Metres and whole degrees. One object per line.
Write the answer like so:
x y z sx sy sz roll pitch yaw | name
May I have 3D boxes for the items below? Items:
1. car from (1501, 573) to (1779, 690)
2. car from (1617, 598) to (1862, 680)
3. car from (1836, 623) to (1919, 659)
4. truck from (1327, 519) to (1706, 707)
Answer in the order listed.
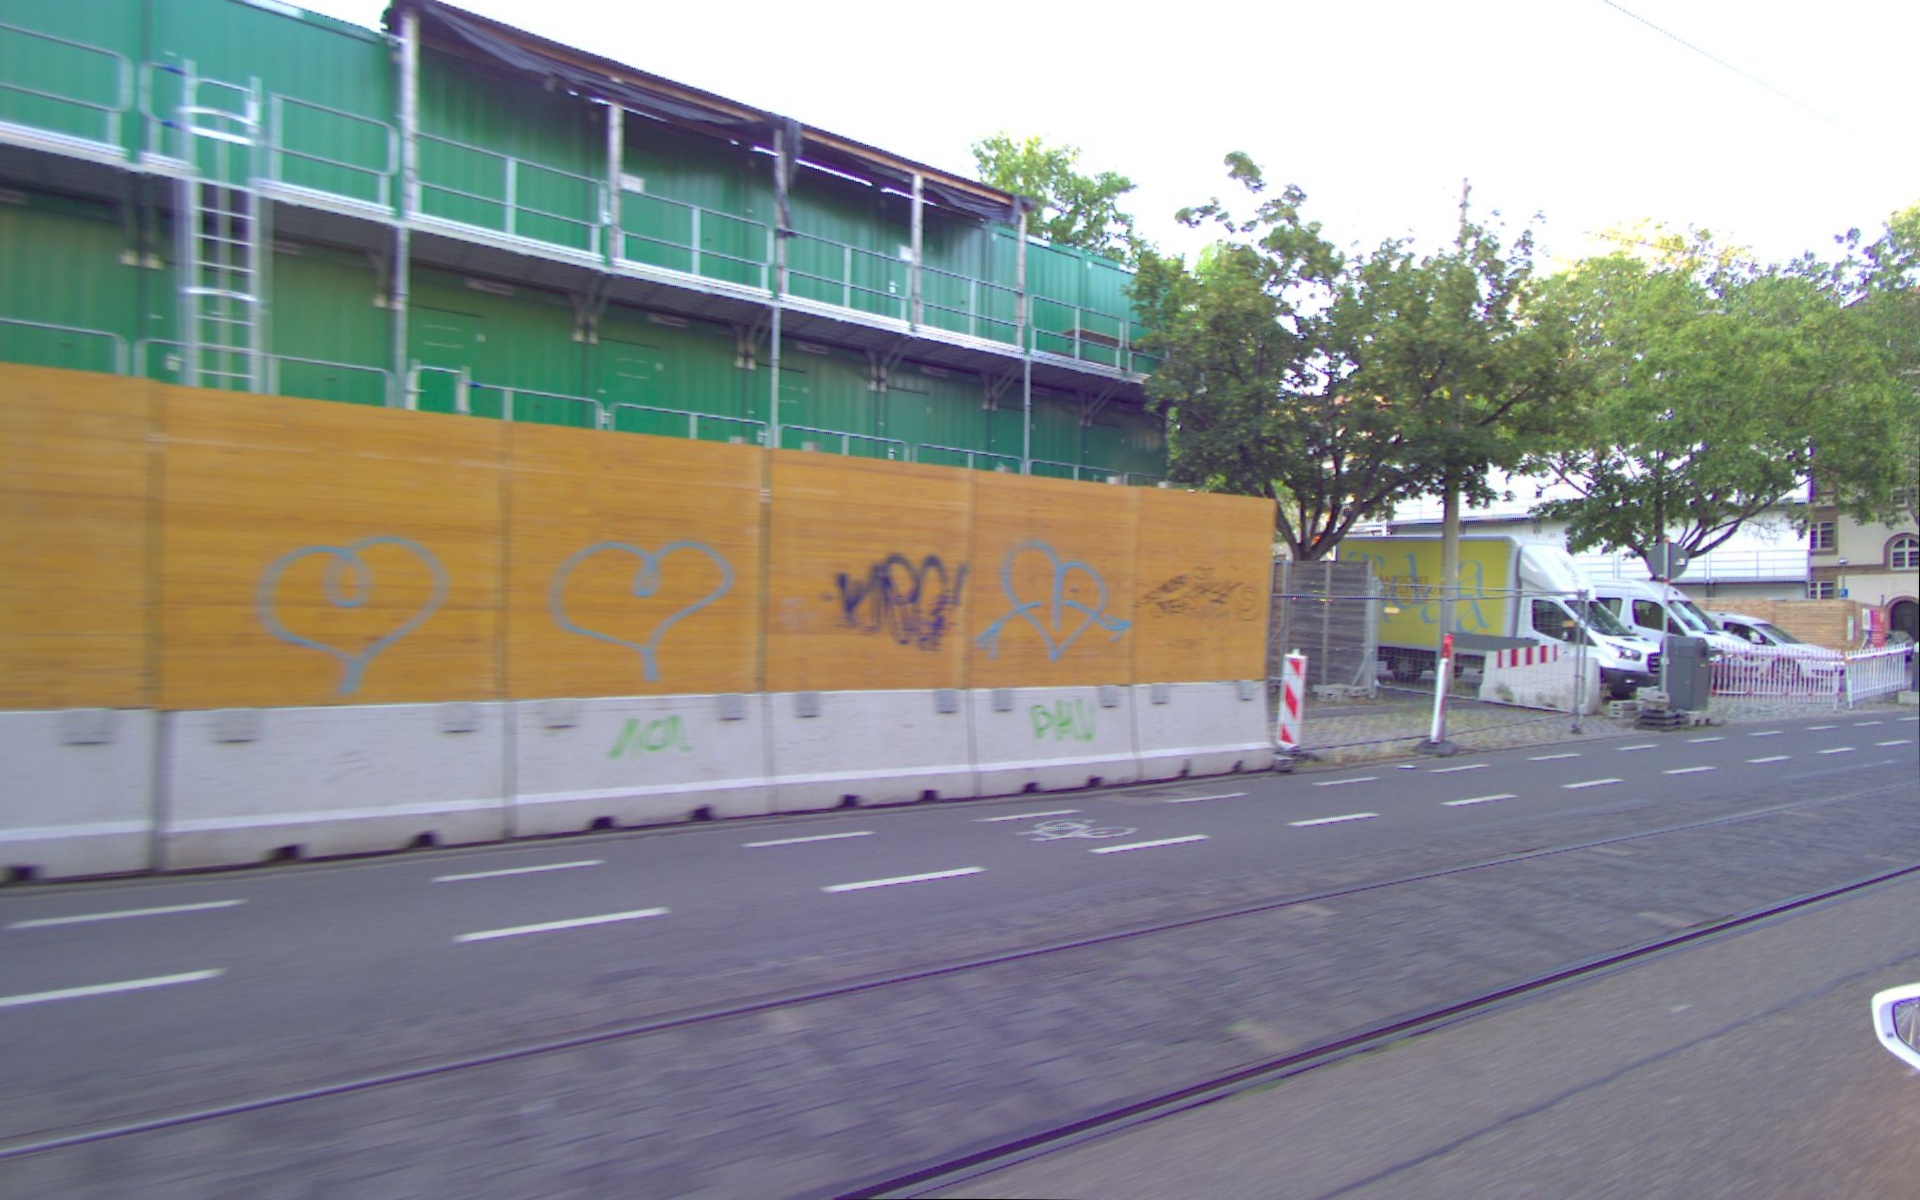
16.984 0.656 25.424 2.202 2.593 5.368 0 1 -32 | car
21.891 1.007 28.485 2.197 1.971 5.010 1 1 -25 | car
44.131 1.958 48.267 4.070 1.661 1.903 2 -1 -31 | car
12.020 0.160 22.473 2.514 3.527 7.015 0 1 -33 | truck
